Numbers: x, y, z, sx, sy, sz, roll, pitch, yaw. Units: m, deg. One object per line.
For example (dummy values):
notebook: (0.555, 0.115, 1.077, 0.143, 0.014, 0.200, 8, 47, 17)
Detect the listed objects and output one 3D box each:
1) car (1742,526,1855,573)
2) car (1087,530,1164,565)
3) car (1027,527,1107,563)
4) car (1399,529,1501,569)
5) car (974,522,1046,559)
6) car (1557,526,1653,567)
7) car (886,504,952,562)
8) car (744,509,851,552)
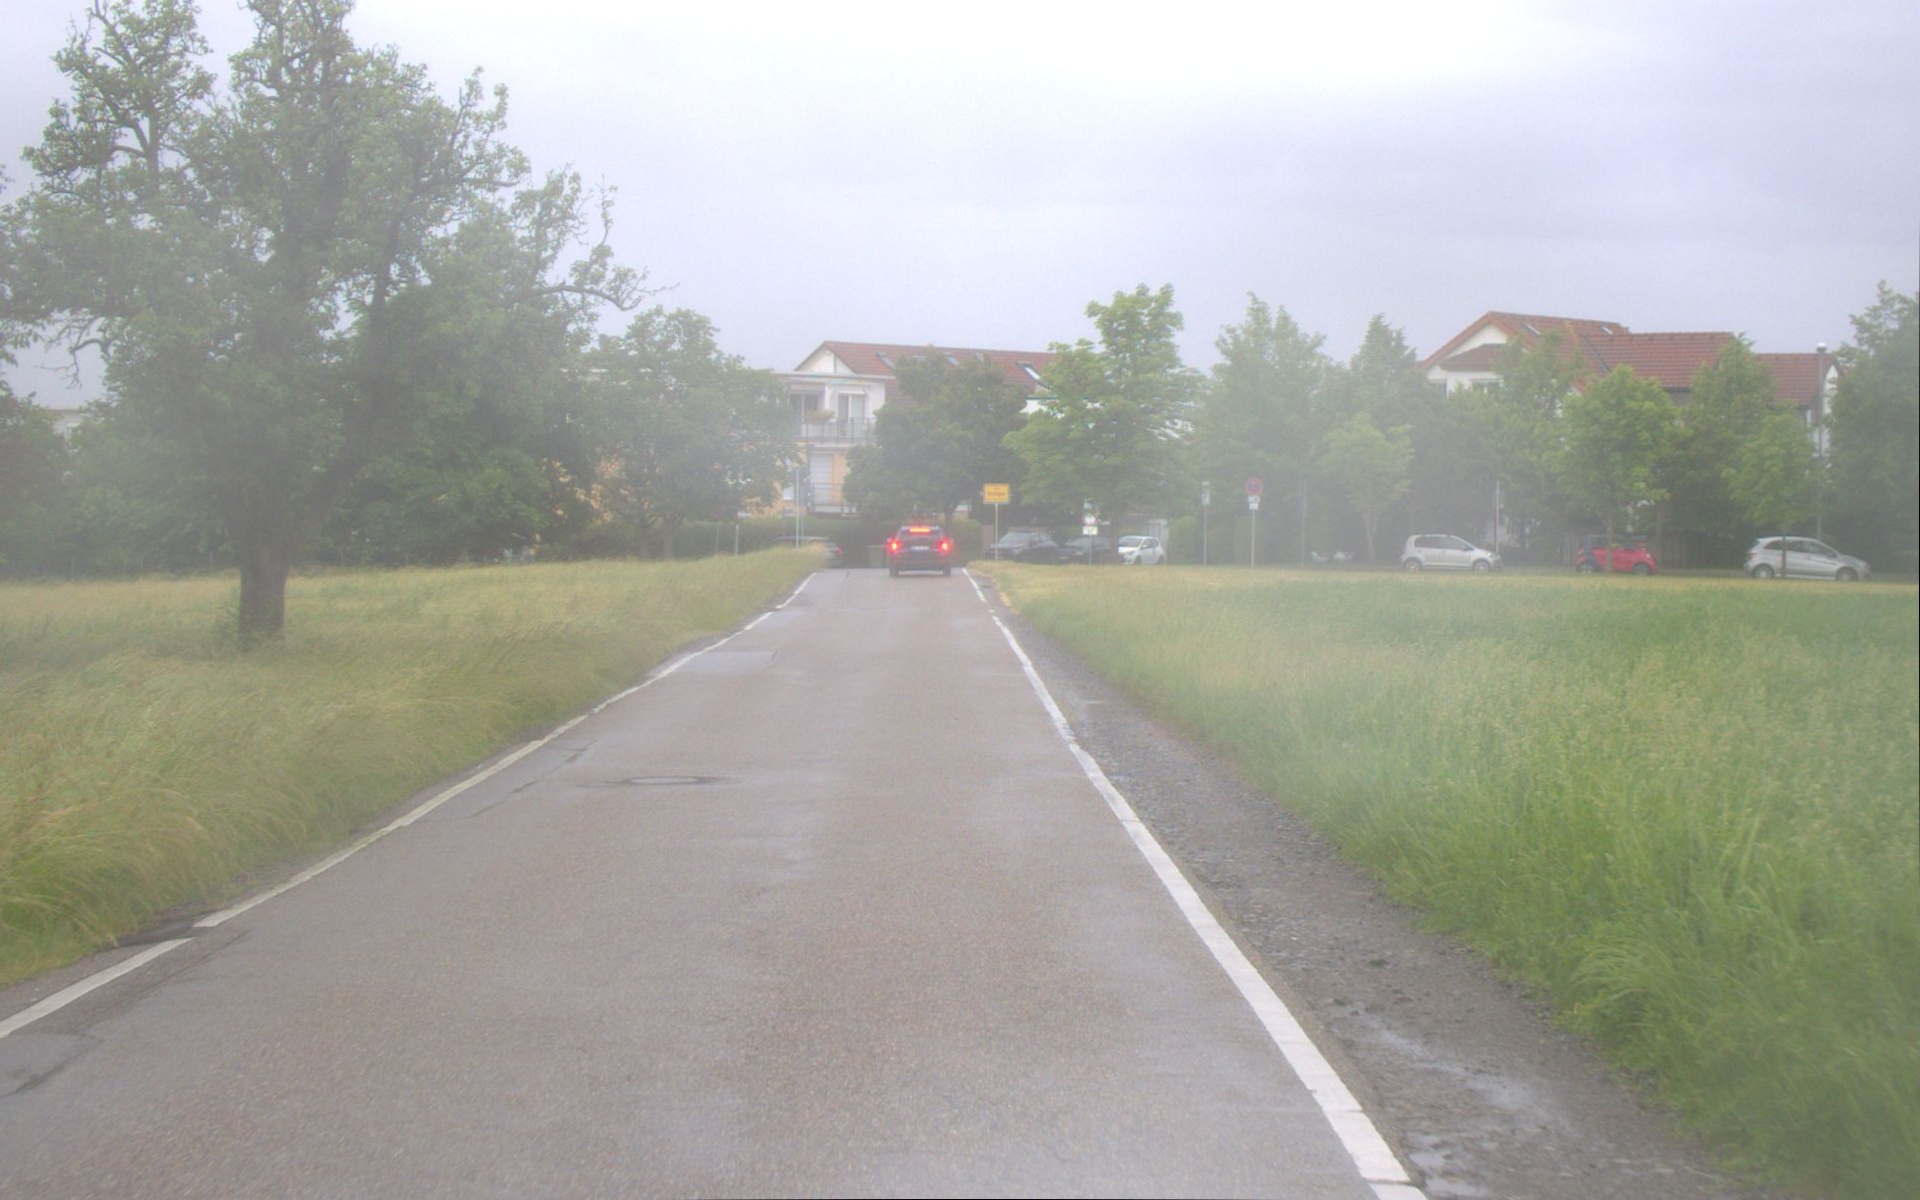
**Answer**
car: (28.659, -1.720, 117.583, 3.711, 1.558, 1.609, 1, 0, 13)
car: (7.641, -2.413, 158.522, 1.664, 1.541, 3.992, 1, 0, 35)
car: (4.807, -2.469, 154.138, 1.664, 1.541, 3.992, 1, 0, 35)
car: (17.192, -1.781, 120.562, 3.392, 1.366, 1.547, 1, 0, 13)
car: (2.181, -2.570, 149.670, 1.663, 1.541, 3.995, 1, 0, 24)
car: (22.393, -1.860, 119.323, 3.194, 1.366, 1.571, 1, 0, 13)
car: (-1.167, -1.916, 99.261, 1.814, 1.588, 4.000, 1, 0, 0)
car: (-6.164, -2.620, 130.156, 3.997, 1.588, 1.816, 1, 0, 44)
